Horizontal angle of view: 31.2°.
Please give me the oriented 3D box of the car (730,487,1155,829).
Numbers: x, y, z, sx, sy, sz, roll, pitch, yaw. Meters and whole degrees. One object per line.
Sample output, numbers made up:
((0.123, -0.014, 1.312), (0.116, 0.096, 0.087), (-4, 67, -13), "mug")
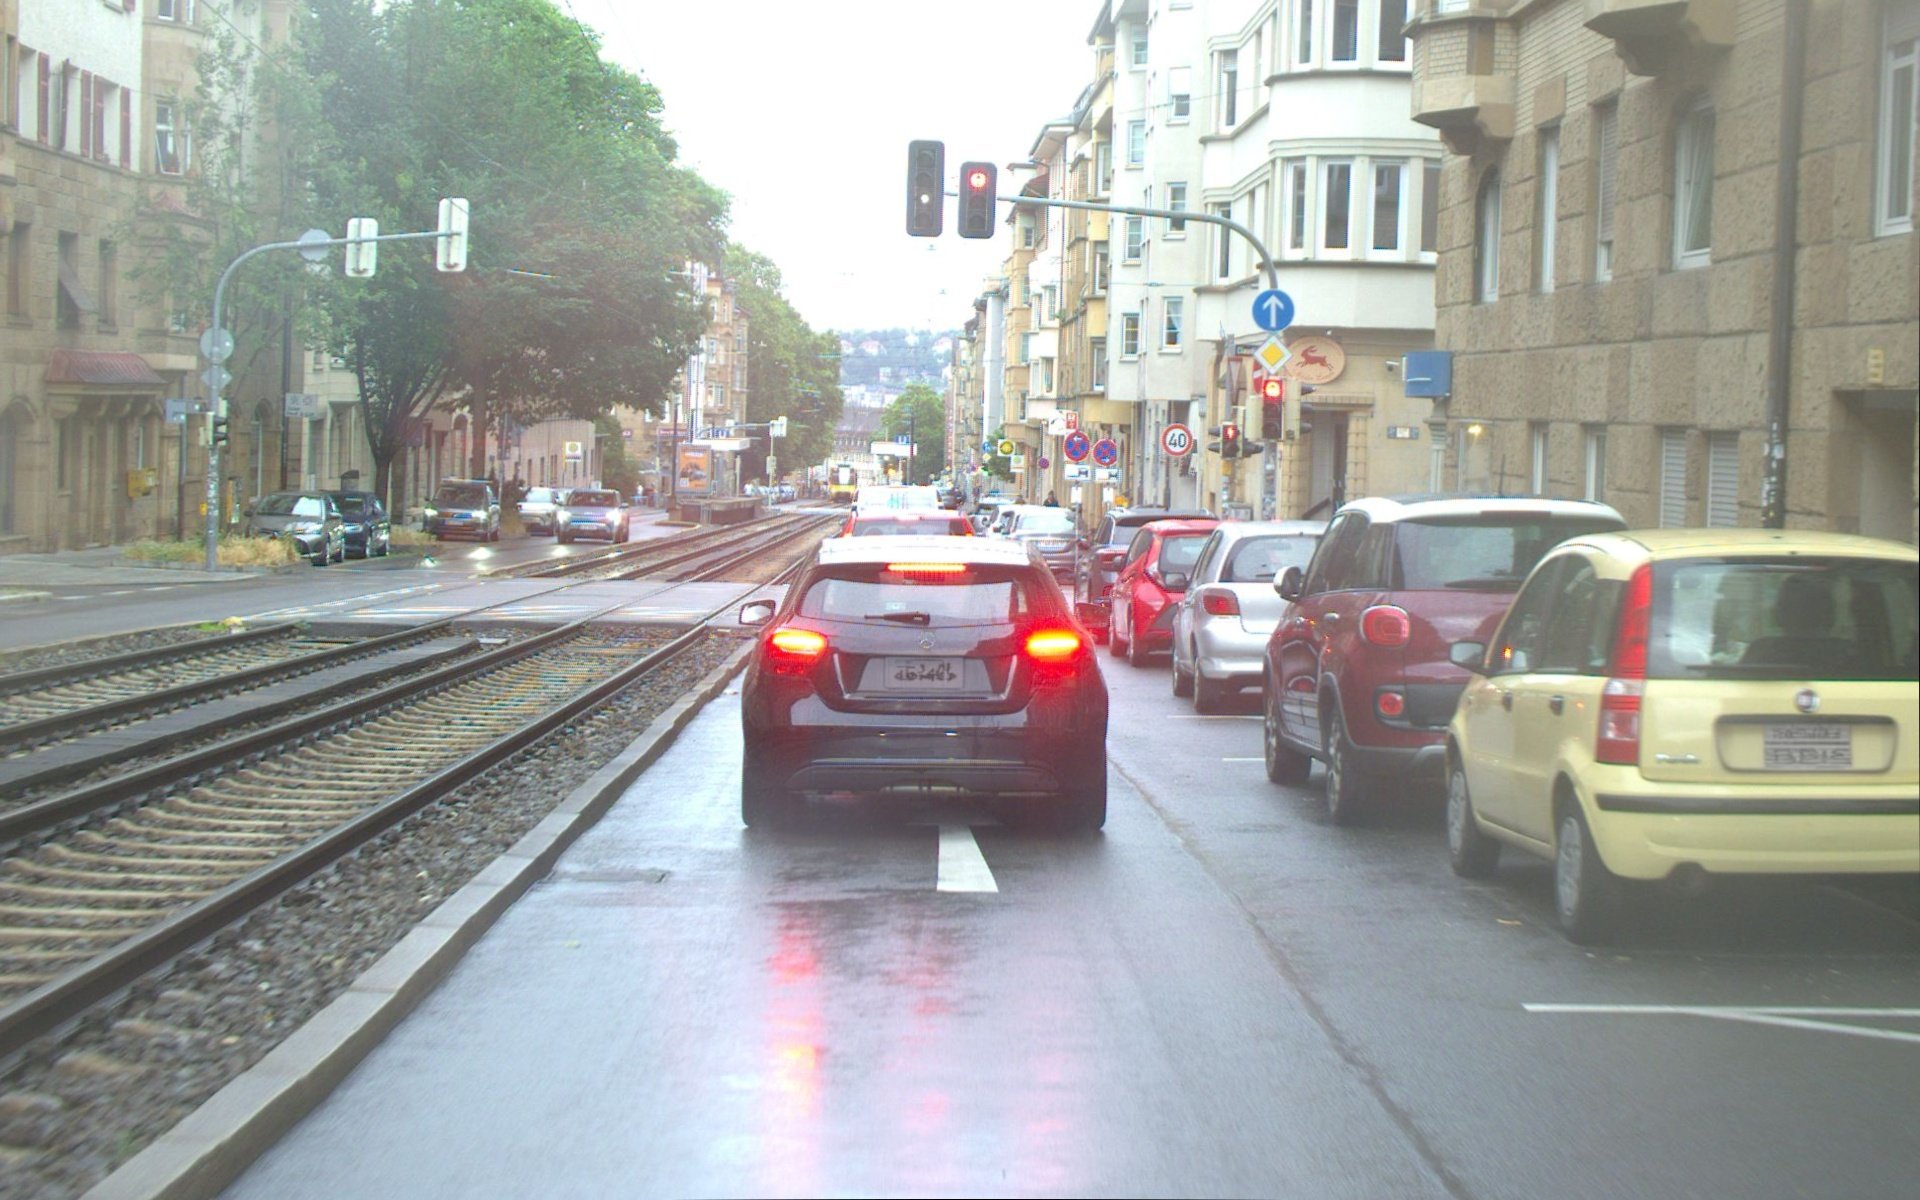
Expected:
((-0.142, 0.240, 17.739), (1.946, 1.559, 3.643), (1, 1, -2), "car")

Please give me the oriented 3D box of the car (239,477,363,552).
((-13.463, -1.746, 70.415), (1.771, 1.459, 4.000), (1, 1, -1), "car")

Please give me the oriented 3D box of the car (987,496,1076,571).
((1.720, -1.618, 84.283), (1.768, 1.769, 4.001), (1, 1, -4), "car")

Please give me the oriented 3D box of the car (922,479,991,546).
((-0.099, -2.416, 95.485), (1.852, 1.791, 3.812), (1, 1, 0), "car")

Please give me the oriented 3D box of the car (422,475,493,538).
((-14.083, -2.638, 96.521), (1.789, 1.685, 4.001), (1, 1, -7), "car")

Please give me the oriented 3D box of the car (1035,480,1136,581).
((2.582, -1.434, 71.745), (1.898, 2.021, 4.176), (1, 1, 0), "car")

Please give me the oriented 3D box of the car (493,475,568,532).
((-14.211, -3.199, 113.918), (1.993, 1.787, 4.000), (2, 2, -1), "car")

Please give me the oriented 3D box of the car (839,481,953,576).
((-1.216, -1.354, 63.754), (1.921, 1.649, 4.001), (1, 2, -3), "car")

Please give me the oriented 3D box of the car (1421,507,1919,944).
((2.896, 0.399, 13.736), (1.559, 1.473, 3.461), (2, 2, -1), "car")

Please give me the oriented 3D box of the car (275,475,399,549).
((-13.690, -1.944, 75.734), (1.993, 1.512, 4.000), (2, 2, -1), "car")

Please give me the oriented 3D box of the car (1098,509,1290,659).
((2.354, -0.198, 35.219), (1.602, 1.414, 3.149), (2, 2, -2), "car")

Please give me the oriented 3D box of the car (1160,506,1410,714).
((2.573, 0.035, 27.904), (1.638, 1.537, 3.466), (2, 1, 0), "car")

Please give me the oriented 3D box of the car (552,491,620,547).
((-10.609, -2.320, 97.766), (1.795, 1.543, 4.001), (-1, 2, -4), "car")

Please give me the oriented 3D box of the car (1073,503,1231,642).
((2.218, -0.363, 40.503), (1.549, 1.503, 4.000), (2, 2, -1), "car")

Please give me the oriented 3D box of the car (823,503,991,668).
((-0.515, -0.173, 34.495), (1.536, 1.505, 4.000), (2, 1, 0), "car")

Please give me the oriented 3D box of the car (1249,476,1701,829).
((2.623, 0.194, 18.394), (1.710, 1.623, 4.000), (2, 2, -1), "car")
